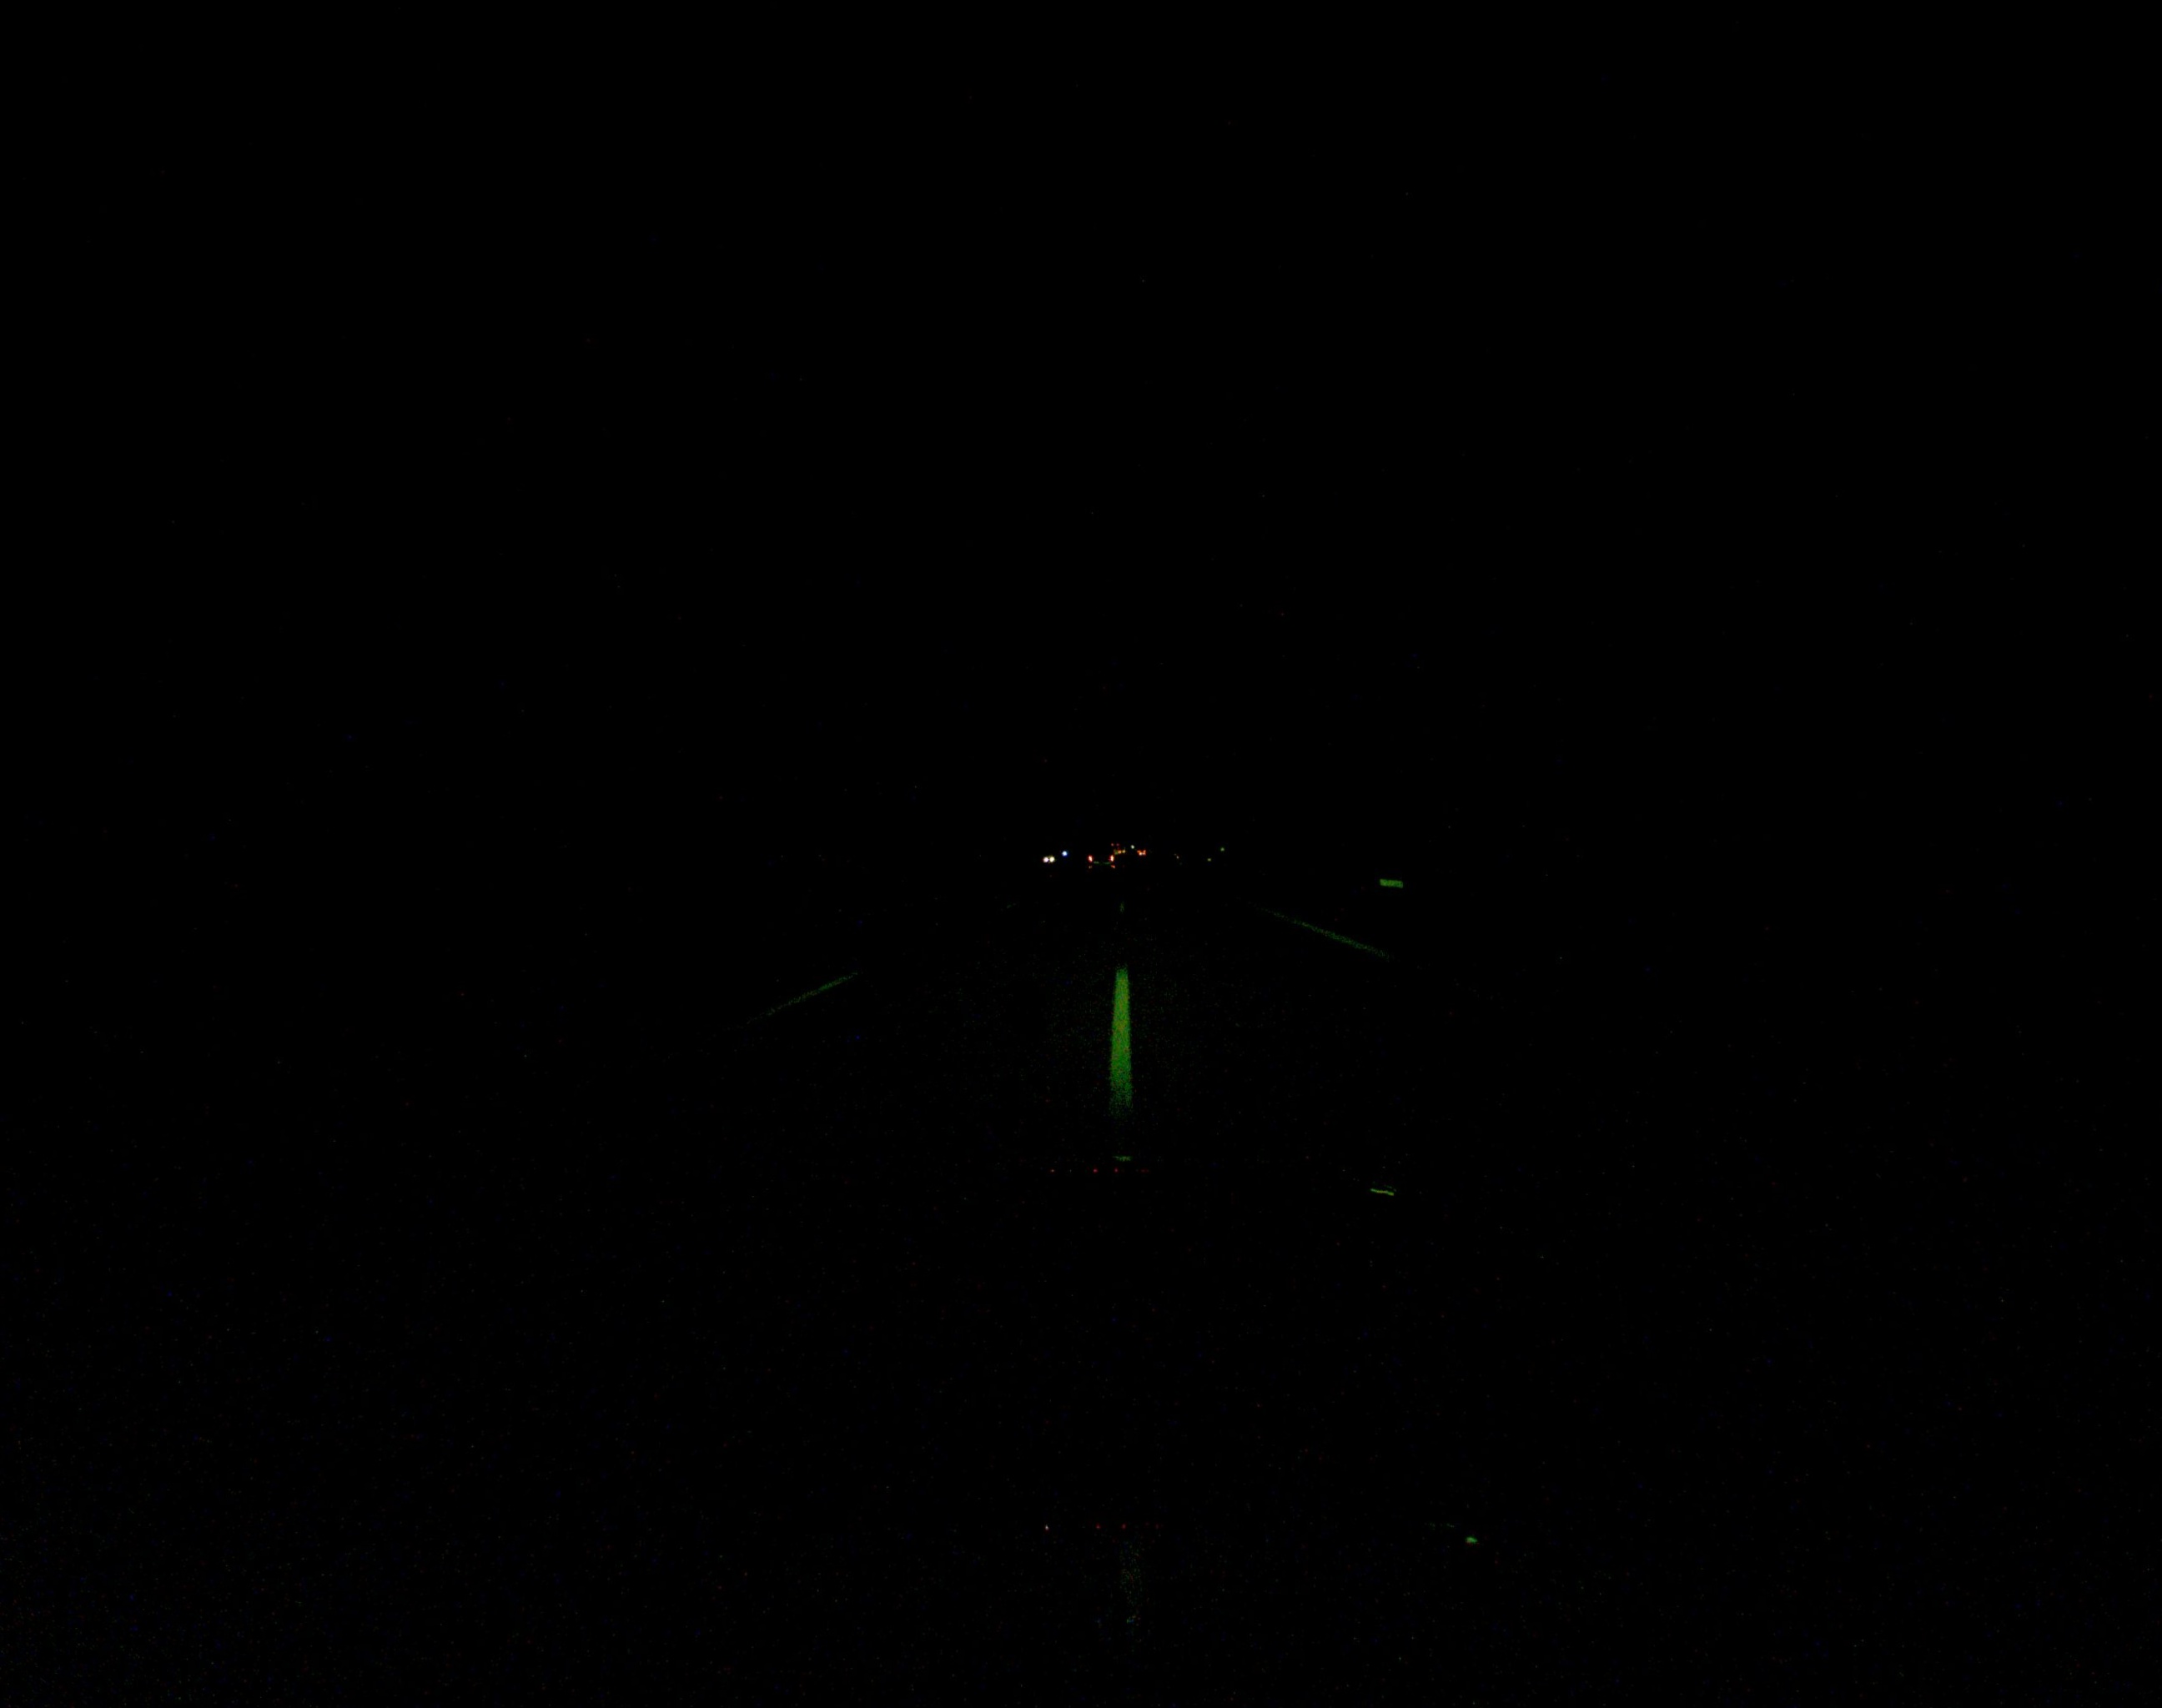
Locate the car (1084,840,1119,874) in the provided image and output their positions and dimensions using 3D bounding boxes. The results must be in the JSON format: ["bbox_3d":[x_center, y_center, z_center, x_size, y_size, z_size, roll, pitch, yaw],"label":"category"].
[{"bbox_3d":[1.819,0.254,70.508,2.775,2.733,6.303,-2,0,2],"label":"car"}]

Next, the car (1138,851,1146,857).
[{"bbox_3d":[16.152,0.032,215.904,1.836,1.640,4.002,-2,1,2],"label":"car"}]

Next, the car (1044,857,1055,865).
[{"bbox_3d":[-7.224,1.607,187.473,1.925,1.604,4.957,-3,0,2],"label":"car"}]
